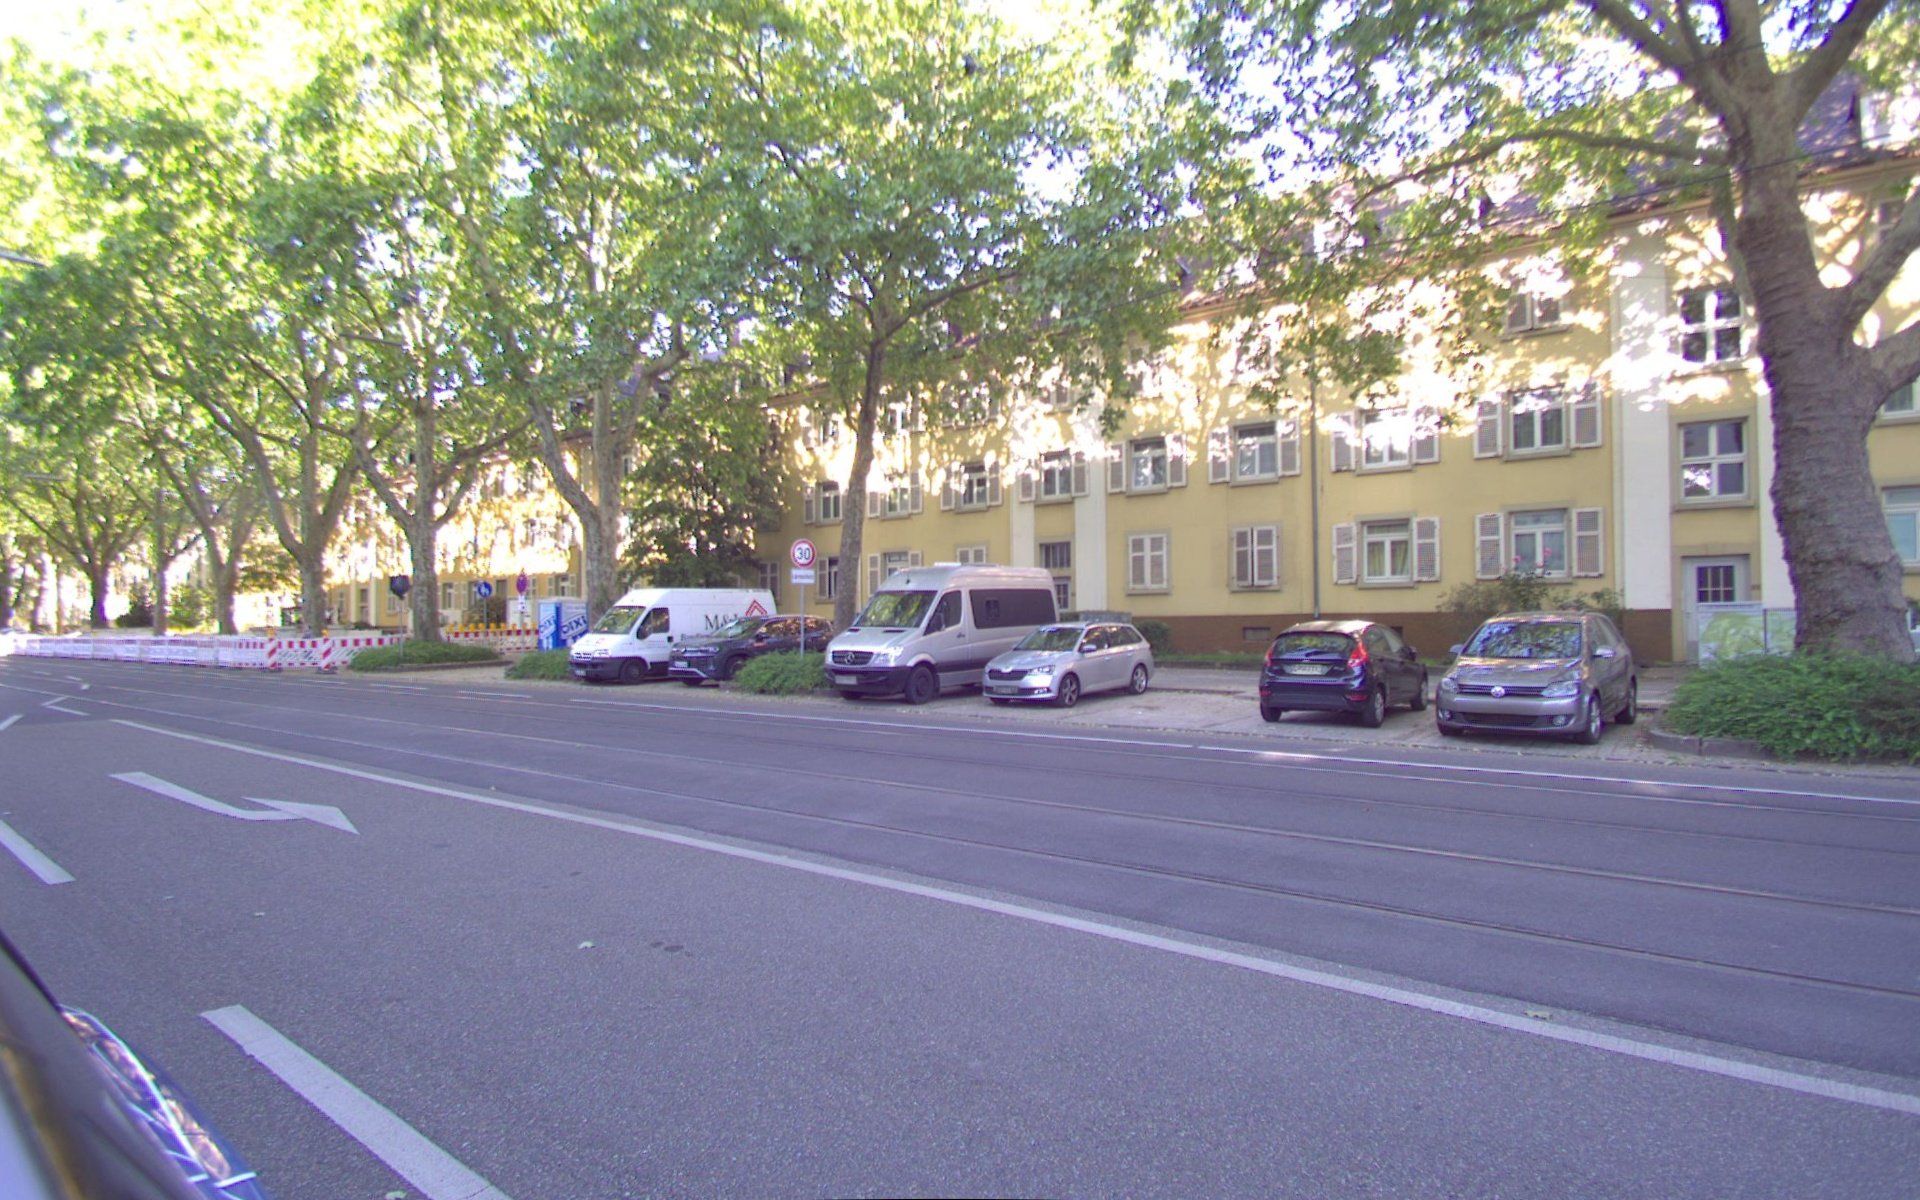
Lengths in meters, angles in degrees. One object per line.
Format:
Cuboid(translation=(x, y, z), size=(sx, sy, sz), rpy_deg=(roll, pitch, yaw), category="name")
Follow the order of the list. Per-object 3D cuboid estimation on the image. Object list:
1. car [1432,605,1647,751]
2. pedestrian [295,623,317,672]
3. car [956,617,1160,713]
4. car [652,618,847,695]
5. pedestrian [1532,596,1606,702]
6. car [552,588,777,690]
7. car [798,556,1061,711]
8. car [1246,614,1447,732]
Cuboid(translation=(7.746, 0.905, 13.365), size=(1.672, 1.592, 3.928), rpy_deg=(-2, -1, 41), category="car")
Cuboid(translation=(-23.848, 1.732, 36.924), size=(0.573, 1.759, 0.654), rpy_deg=(-1, 0, -26), category="pedestrian")
Cuboid(translation=(1.915, 1.128, 18.833), size=(1.773, 1.509, 4.031), rpy_deg=(-2, -1, 41), category="car")
Cuboid(translation=(-4.976, 1.284, 24.445), size=(1.772, 1.664, 4.570), rpy_deg=(-2, -2, 38), category="car")
Cuboid(translation=(9.980, 0.780, 16.583), size=(0.953, 1.673, 0.765), rpy_deg=(-1, 0, 36), category="pedestrian")
Cuboid(translation=(-7.558, 0.972, 26.371), size=(2.222, 2.394, 5.336), rpy_deg=(-2, -2, 40), category="car")
Cuboid(translation=(-0.424, 0.616, 20.444), size=(2.221, 2.702, 5.596), rpy_deg=(-2, -1, 38), category="car")
Cuboid(translation=(5.969, 1.008, 15.416), size=(1.671, 1.509, 3.756), rpy_deg=(-2, -1, 41), category="car")
